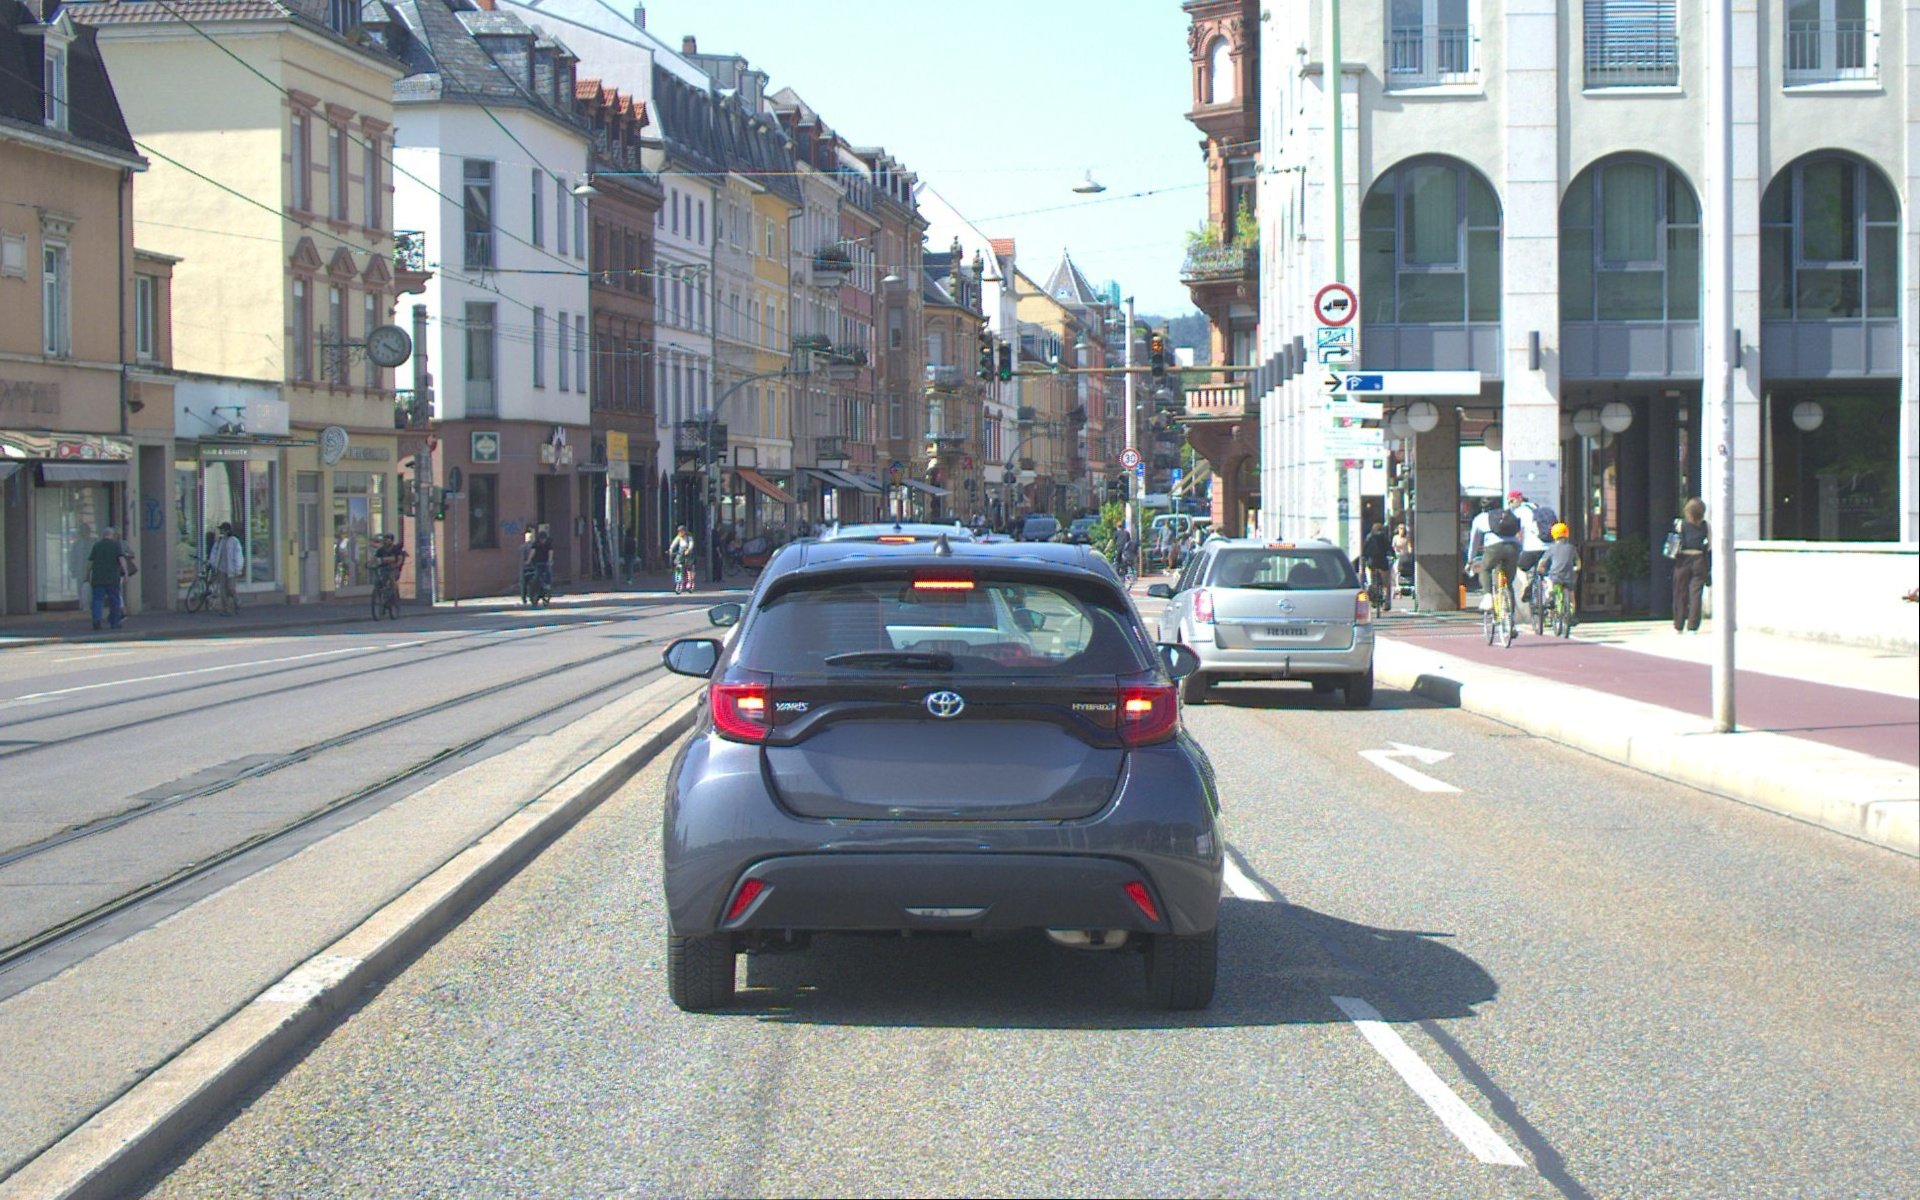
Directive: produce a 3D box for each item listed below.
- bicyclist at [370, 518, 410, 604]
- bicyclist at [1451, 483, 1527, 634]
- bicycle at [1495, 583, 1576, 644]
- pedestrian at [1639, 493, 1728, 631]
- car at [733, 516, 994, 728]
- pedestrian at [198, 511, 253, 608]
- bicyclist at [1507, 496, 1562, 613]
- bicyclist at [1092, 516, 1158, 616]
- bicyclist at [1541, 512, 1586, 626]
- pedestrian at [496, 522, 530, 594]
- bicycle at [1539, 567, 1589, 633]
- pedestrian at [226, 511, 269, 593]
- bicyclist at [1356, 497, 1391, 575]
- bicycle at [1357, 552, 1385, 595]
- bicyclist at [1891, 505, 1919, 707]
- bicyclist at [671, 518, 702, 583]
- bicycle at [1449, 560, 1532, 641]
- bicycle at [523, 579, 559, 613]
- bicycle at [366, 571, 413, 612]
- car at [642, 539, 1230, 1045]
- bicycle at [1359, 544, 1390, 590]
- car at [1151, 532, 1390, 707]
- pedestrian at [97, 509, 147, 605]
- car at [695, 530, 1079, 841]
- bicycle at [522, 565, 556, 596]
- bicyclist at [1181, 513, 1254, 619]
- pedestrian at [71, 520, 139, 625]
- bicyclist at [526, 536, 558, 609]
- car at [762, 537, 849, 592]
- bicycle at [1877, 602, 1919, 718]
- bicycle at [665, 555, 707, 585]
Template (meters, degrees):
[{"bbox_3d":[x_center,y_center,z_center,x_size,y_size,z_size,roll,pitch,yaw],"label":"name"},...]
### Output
[{"bbox_3d":[-11.017,-0.758,66.470,0.627,1.644,0.622,1,2,0],"label":"bicyclist"},{"bbox_3d":[6.046,-0.475,39.338,0.701,1.689,0.924,-1,1,0],"label":"bicyclist"},{"bbox_3d":[7.318,0.172,43.741,0.416,0.763,0.961,-3,1,-39],"label":"bicycle"},{"bbox_3d":[8.774,-0.463,41.712,0.739,1.609,1.016,4,1,-1],"label":"pedestrian"},{"bbox_3d":[-0.738,0.123,27.284,1.897,1.525,4.000,1,1,-1],"label":"car"},{"bbox_3d":[-13.727,-0.762,64.253,0.736,1.760,0.787,4,1,0],"label":"pedestrian"},{"bbox_3d":[7.303,-0.576,43.706,0.484,1.461,0.443,-3,1,-39],"label":"bicyclist"},{"bbox_3d":[4.351,-0.902,90.568,1.227,2.520,1.105,3,1,-22],"label":"bicyclist"},{"bbox_3d":[7.372,-0.380,42.038,0.422,1.378,0.443,-2,1,0],"label":"bicyclist"},{"bbox_3d":[-11.091,-1.043,85.360,0.736,1.760,0.787,0,2,0],"label":"pedestrian"},{"bbox_3d":[7.389,-0.005,42.077,0.416,0.763,0.962,-2,1,0],"label":"bicycle"},{"bbox_3d":[-14.389,-0.976,69.444,0.649,1.596,0.566,4,3,0],"label":"pedestrian"},{"bbox_3d":[7.140,-1.106,59.357,0.538,1.312,0.672,-2,1,4],"label":"bicyclist"},{"bbox_3d":[7.645,-0.498,64.007,0.416,0.763,0.962,-2,1,3],"label":"bicycle"},{"bbox_3d":[6.789,0.027,23.653,0.534,1.378,0.669,-2,1,0],"label":"bicyclist"},{"bbox_3d":[-7.084,-1.281,89.000,0.627,1.644,0.621,2,2,8],"label":"bicyclist"},{"bbox_3d":[6.070,0.001,39.382,0.704,0.879,1.525,-1,1,0],"label":"bicycle"},{"bbox_3d":[-9.567,-0.099,78.548,0.620,0.713,1.731,1,2,0],"label":"bicycle"},{"bbox_3d":[-11.031,-0.171,66.512,0.620,0.713,1.771,1,2,0],"label":"bicycle"},{"bbox_3d":[-0.100,0.538,12.023,1.720,1.468,3.658,1,1,-1],"label":"car"},{"bbox_3d":[7.163,-0.576,59.412,0.416,0.763,1.205,-2,1,3],"label":"bicycle"},{"bbox_3d":[2.764,0.128,31.421,1.705,1.461,4.326,1,1,-1],"label":"car"},{"bbox_3d":[-14.572,-0.747,59.764,0.649,1.596,0.566,4,3,0],"label":"pedestrian"},{"bbox_3d":[-0.396,0.390,19.186,1.897,1.525,4.000,1,1,-1],"label":"car"},{"bbox_3d":[-10.390,-0.492,84.882,0.620,0.713,1.771,1,2,0],"label":"bicycle"},{"bbox_3d":[6.399,-0.851,85.463,1.228,2.520,1.105,3,1,-31],"label":"bicyclist"},{"bbox_3d":[-13.912,-0.447,55.955,0.762,1.648,0.711,4,1,7],"label":"pedestrian"},{"bbox_3d":[-9.554,-0.626,78.547,0.627,1.644,0.622,1,2,0],"label":"bicyclist"},{"bbox_3d":[-4.207,-0.992,94.214,1.731,1.455,4.373,0,1,6],"label":"car"},{"bbox_3d":[6.804,0.415,23.660,0.514,0.763,1.661,-2,1,0],"label":"bicycle"},{"bbox_3d":[-7.096,-0.772,89.022,0.620,0.713,2.044,2,2,9],"label":"bicycle"}]
